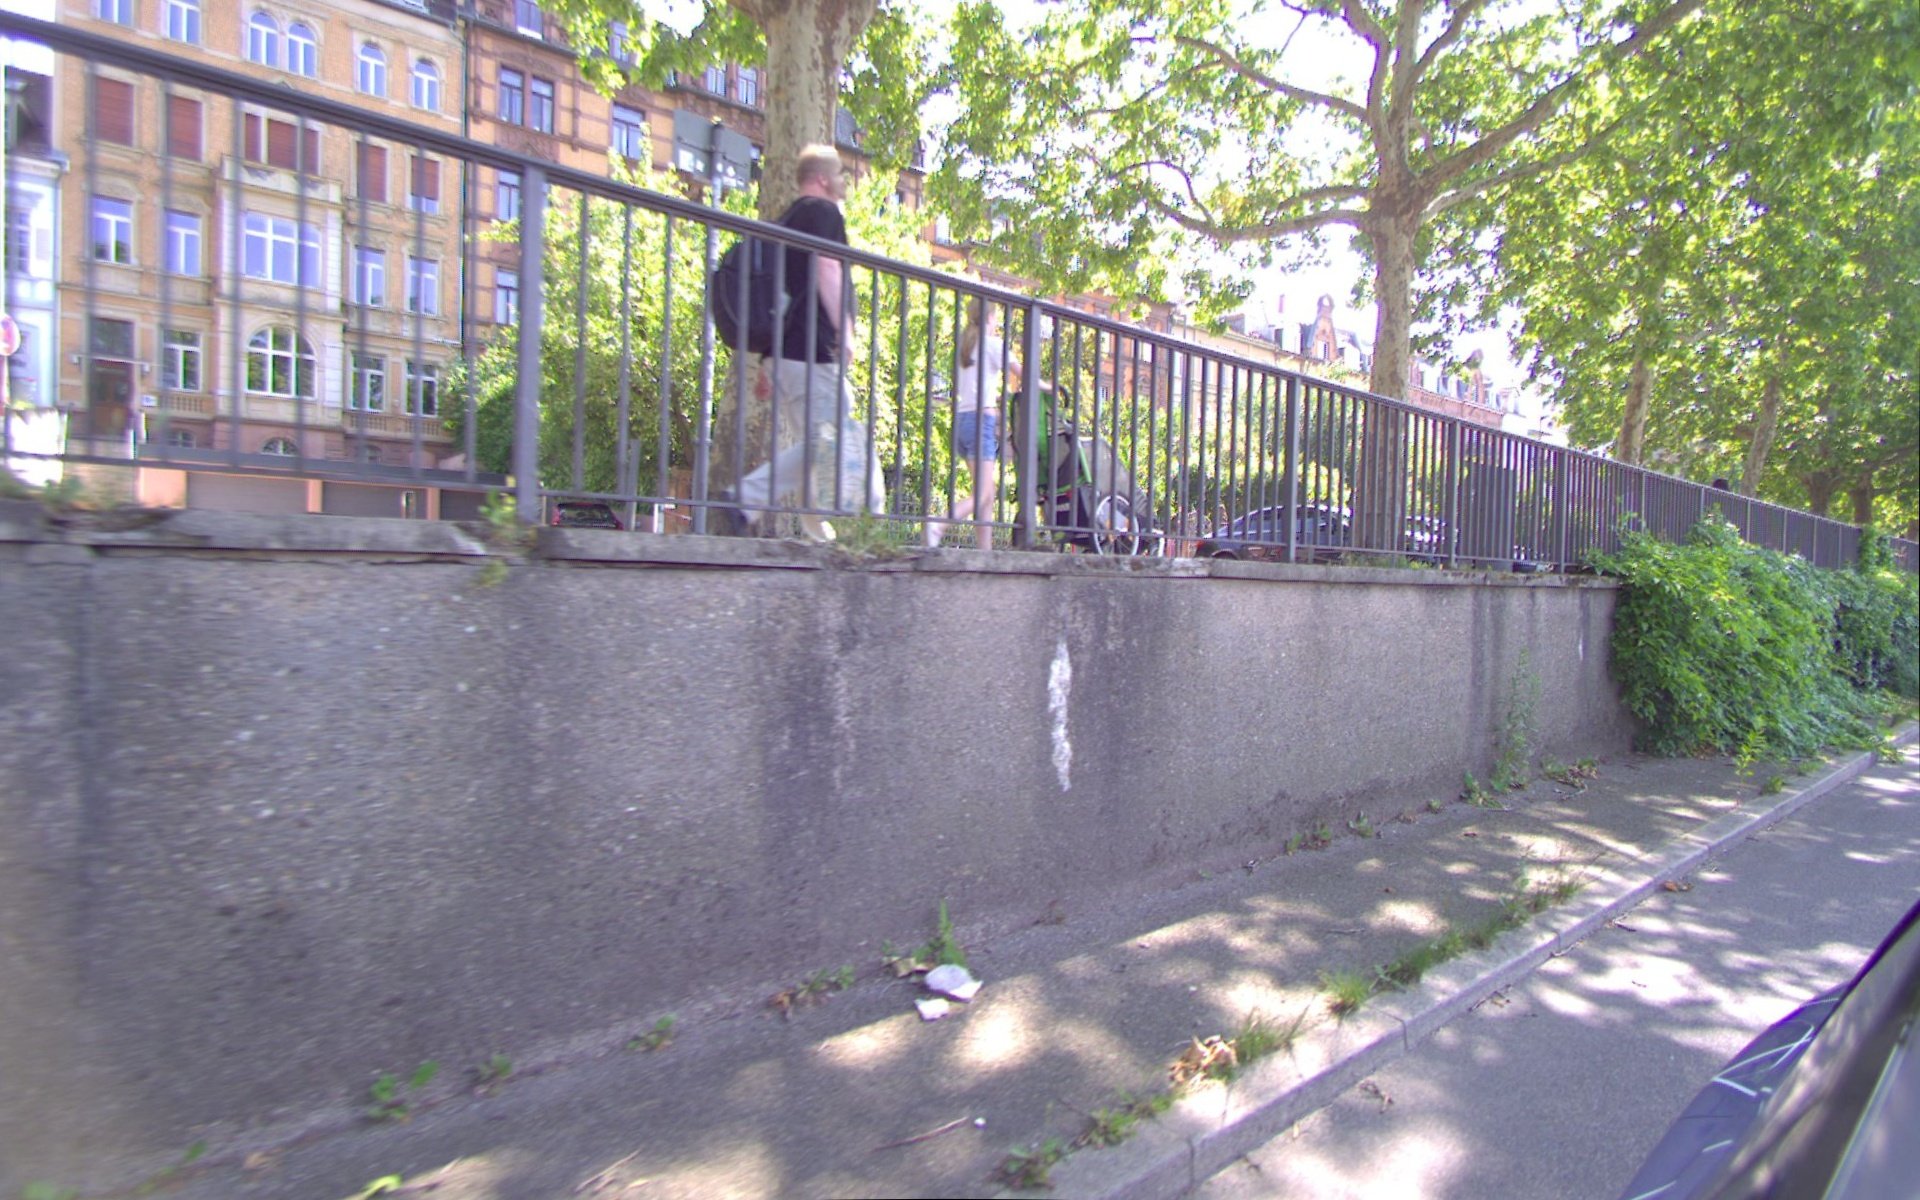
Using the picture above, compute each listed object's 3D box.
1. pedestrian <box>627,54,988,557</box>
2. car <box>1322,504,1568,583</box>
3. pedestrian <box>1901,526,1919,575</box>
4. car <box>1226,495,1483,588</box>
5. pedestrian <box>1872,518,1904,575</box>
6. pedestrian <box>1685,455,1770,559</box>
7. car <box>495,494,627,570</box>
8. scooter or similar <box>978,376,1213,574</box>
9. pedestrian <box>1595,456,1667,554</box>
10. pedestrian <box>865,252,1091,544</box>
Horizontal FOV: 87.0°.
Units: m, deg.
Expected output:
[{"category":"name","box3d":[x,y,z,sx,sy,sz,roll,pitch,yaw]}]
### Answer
[{"category":"pedestrian","box3d":[-0.611,-1.007,4.005,1.010,1.598,0.938,0,4,-42]},{"category":"car","box3d":[8.833,-1.058,18.592,3.724,1.250,1.649,6,4,42]},{"category":"pedestrian","box3d":[28.561,-1.466,30.254,0.584,1.437,0.580,2,1,42]},{"category":"car","box3d":[6.005,-0.942,15.789,1.484,1.250,3.541,1,4,-30]},{"category":"pedestrian","box3d":[27.844,-1.598,30.380,0.646,1.660,0.617,2,1,42]},{"category":"pedestrian","box3d":[10.870,-1.305,14.336,0.800,1.382,0.754,0,4,-42]},{"category":"car","box3d":[-9.325,-1.521,23.496,1.759,1.556,3.793,1,1,-40]},{"category":"scooter or similar","box3d":[0.821,-0.713,6.117,1.088,1.038,0.857,0,4,-41]},{"category":"pedestrian","box3d":[10.014,-1.405,15.113,0.781,1.382,0.645,0,4,-42]},{"category":"pedestrian","box3d":[0.101,-1.028,5.527,0.972,1.382,0.682,0,4,-41]}]
